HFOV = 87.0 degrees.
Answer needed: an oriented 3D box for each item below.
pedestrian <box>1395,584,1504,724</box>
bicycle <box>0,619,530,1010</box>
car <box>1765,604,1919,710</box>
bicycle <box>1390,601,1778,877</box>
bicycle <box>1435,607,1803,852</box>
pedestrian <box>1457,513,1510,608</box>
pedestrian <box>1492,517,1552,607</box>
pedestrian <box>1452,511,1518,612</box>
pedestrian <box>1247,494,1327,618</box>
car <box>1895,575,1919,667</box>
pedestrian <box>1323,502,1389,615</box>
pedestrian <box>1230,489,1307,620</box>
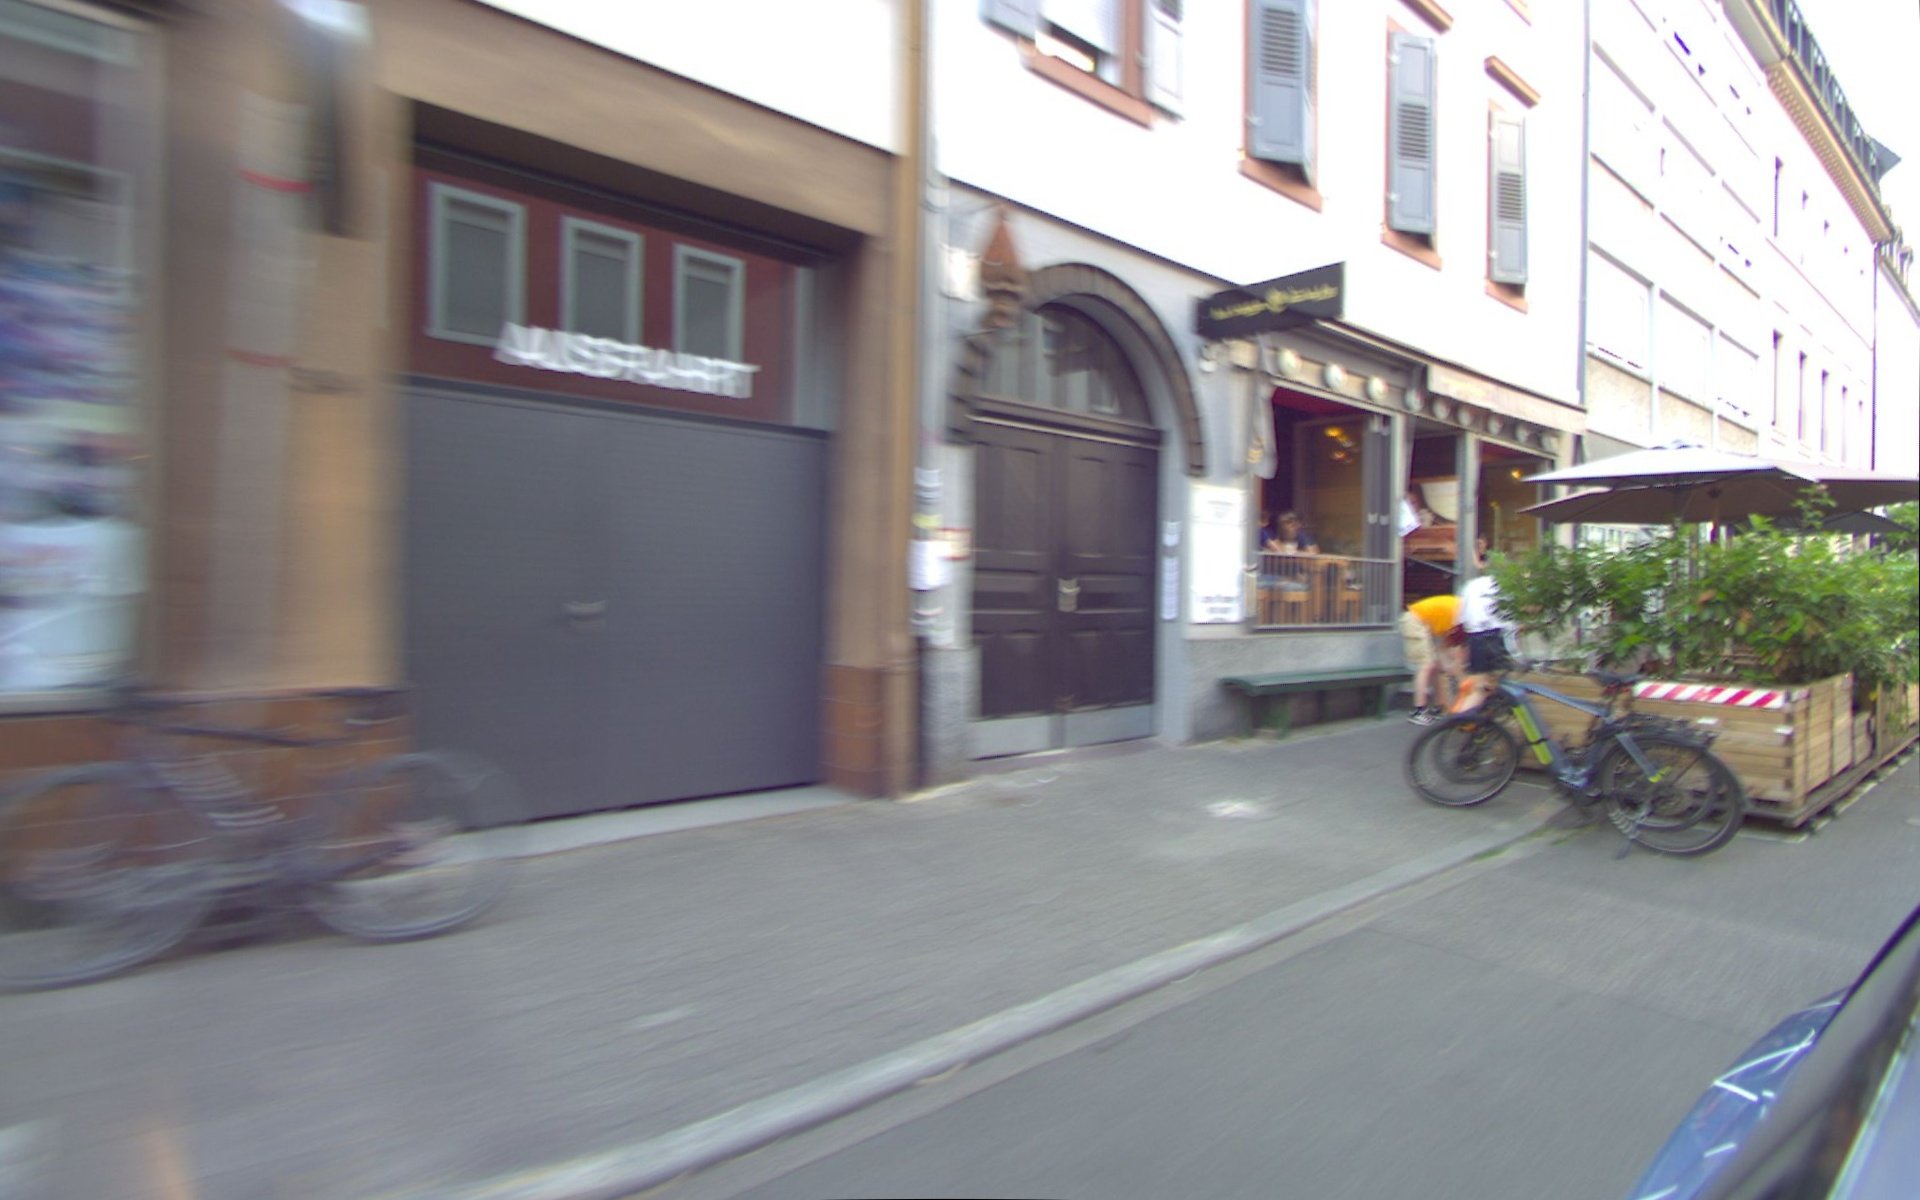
[{"bbox_3d":[4.673,0.484,9.670,0.635,1.258,0.736,0,1,-40],"label":"pedestrian"},{"bbox_3d":[-2.518,0.650,3.598,1.721,1.103,0.520,0,4,-41],"label":"bicycle"},{"bbox_3d":[13.198,0.727,14.489,3.930,1.312,1.938,0,0,-41],"label":"car"},{"bbox_3d":[3.744,0.738,6.244,0.586,1.318,1.874,1,4,-40],"label":"bicycle"},{"bbox_3d":[4.251,0.750,6.683,0.586,1.242,1.874,1,4,-40],"label":"bicycle"},{"bbox_3d":[7.098,-0.537,13.733,0.560,1.258,0.467,1,1,21],"label":"pedestrian"},{"bbox_3d":[8.076,-0.540,14.533,0.599,1.258,0.566,0,1,-41],"label":"pedestrian"},{"bbox_3d":[6.790,-0.494,13.092,0.599,1.258,0.566,0,1,-41],"label":"pedestrian"},{"bbox_3d":[3.453,-0.454,10.683,0.599,1.258,0.566,0,1,-41],"label":"pedestrian"},{"bbox_3d":[21.320,0.430,21.302,3.930,1.869,1.997,0,0,-41],"label":"car"},{"bbox_3d":[4.565,-0.468,11.663,0.599,1.258,0.467,0,1,-41],"label":"pedestrian"},{"bbox_3d":[3.060,-0.444,10.042,0.599,1.258,0.467,0,1,-41],"label":"pedestrian"}]
